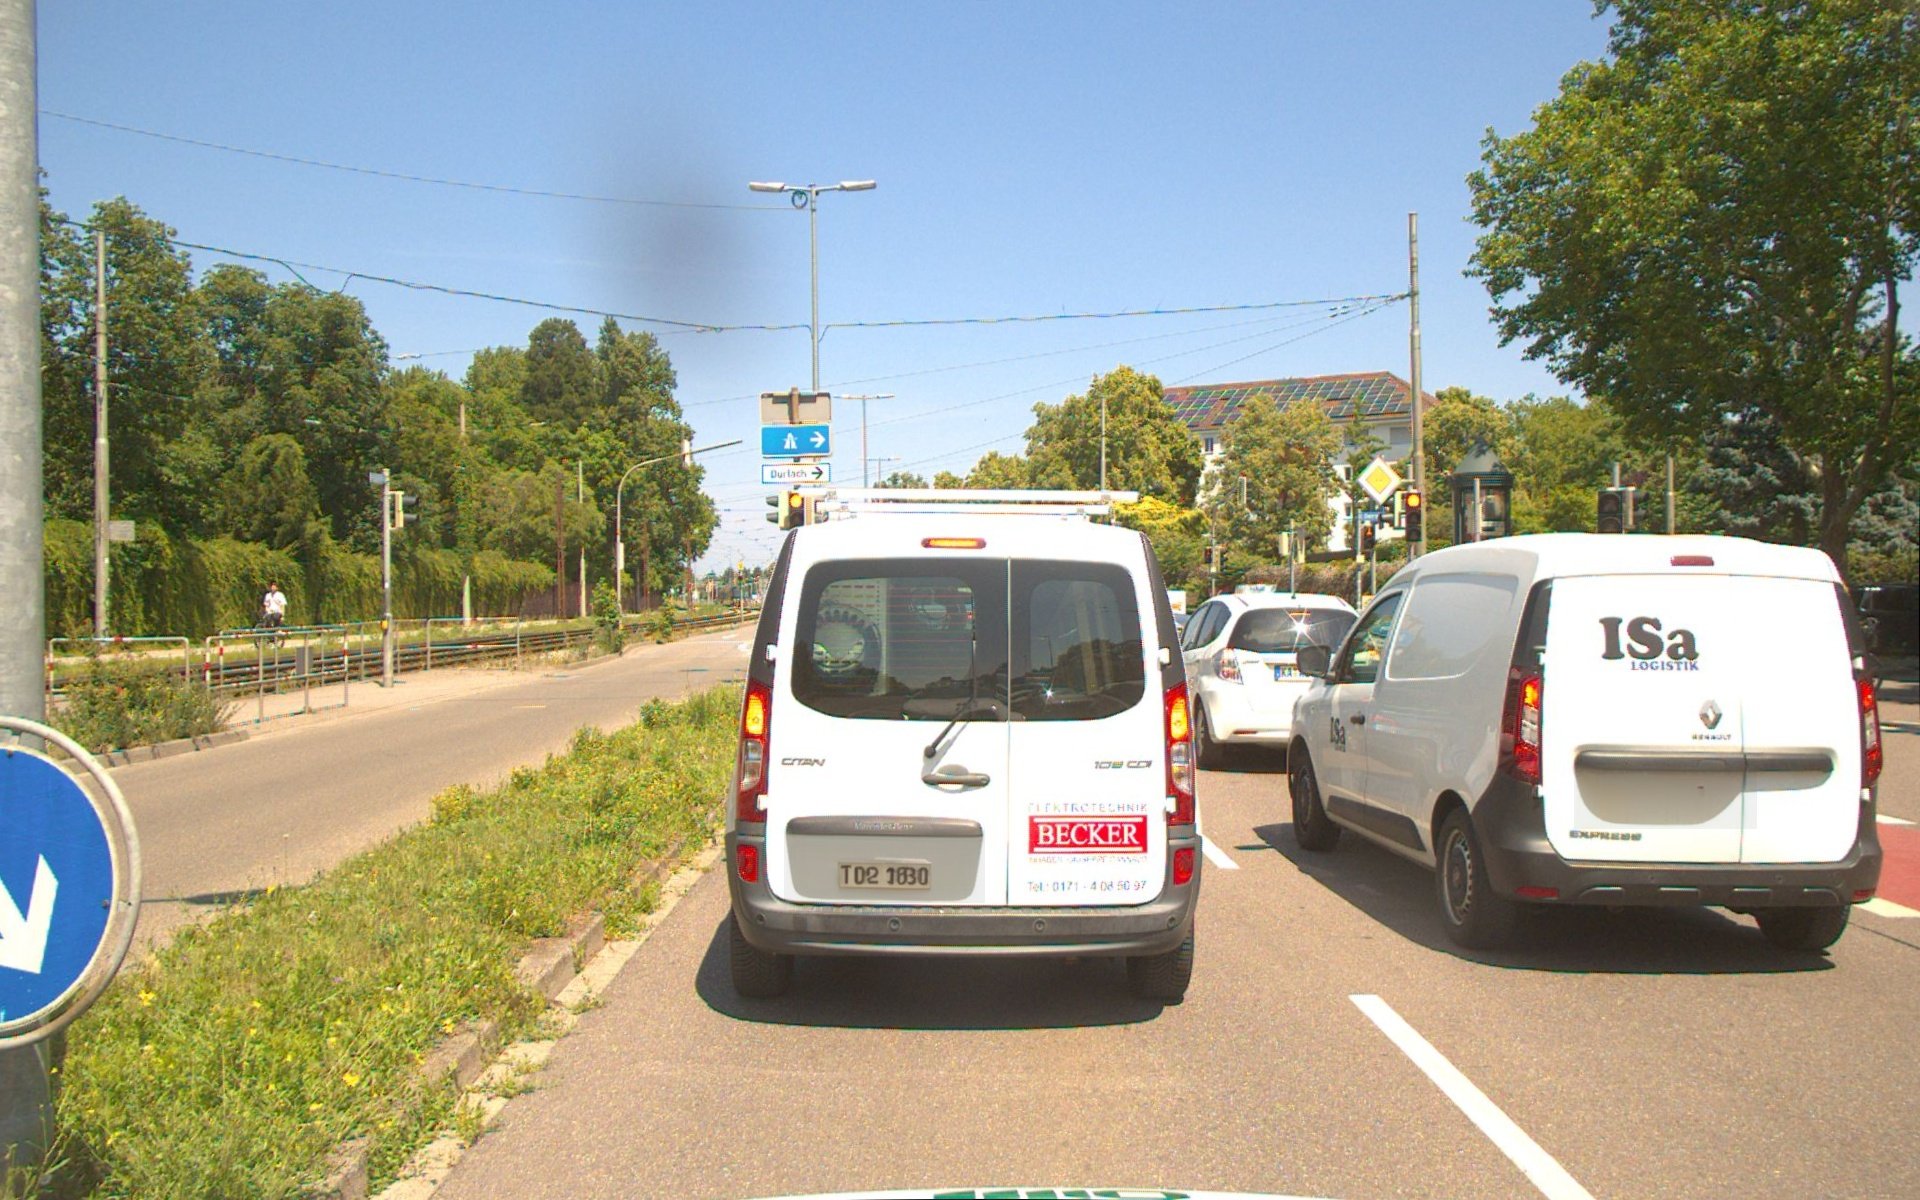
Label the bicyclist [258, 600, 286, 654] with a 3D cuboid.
[{"bbox_3d":[-19.383,0.765,46.612,0.546,1.504,0.561,0,0,0],"label":"bicyclist"}]

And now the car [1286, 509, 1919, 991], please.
[{"bbox_3d":[2.976,0.571,8.446,1.676,1.862,4.011,0,0,-3],"label":"car"}]

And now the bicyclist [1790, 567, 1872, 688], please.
[{"bbox_3d":[13.216,0.402,25.089,0.938,1.769,1.127,0,0,36],"label":"bicyclist"}]

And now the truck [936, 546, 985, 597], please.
[{"bbox_3d":[-0.042,-2.064,123.232,3.503,3.696,8.807,0,0,-1],"label":"truck"}]

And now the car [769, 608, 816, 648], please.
[{"bbox_3d":[-6.366,1.034,62.719,1.659,1.334,3.879,3,1,-6],"label":"car"}]

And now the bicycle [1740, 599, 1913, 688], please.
[{"bbox_3d":[13.167,0.640,25.161,2.224,1.291,0.883,0,0,36],"label":"bicycle"}]

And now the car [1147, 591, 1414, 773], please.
[{"bbox_3d":[2.936,0.685,15.965,1.720,1.512,3.999,1,0,-1],"label":"car"}]

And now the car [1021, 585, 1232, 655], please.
[{"bbox_3d":[3.877,0.447,38.955,4.603,1.552,1.992,0,0,37],"label":"car"}]

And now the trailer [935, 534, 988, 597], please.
[{"bbox_3d":[0.041,-2.306,114.281,3.456,4.121,8.975,0,0,-1],"label":"trailer"}]

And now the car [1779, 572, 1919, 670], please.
[{"bbox_3d":[18.564,0.398,32.690,3.902,1.892,2.002,0,0,13],"label":"car"}]

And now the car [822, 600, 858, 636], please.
[{"bbox_3d":[-7.058,1.049,97.625,1.954,2.049,3.998,0,0,-3],"label":"car"}]

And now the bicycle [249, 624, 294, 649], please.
[{"bbox_3d":[-19.389,1.015,46.615,0.549,0.659,1.720,0,0,0],"label":"bicycle"}]

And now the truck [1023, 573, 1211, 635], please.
[{"bbox_3d":[5.403,0.138,57.882,6.613,2.049,2.291,0,0,44],"label":"truck"}]

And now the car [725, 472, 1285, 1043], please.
[{"bbox_3d":[0.104,0.519,7.388,1.829,1.868,3.847,1,0,-2],"label":"car"}]
